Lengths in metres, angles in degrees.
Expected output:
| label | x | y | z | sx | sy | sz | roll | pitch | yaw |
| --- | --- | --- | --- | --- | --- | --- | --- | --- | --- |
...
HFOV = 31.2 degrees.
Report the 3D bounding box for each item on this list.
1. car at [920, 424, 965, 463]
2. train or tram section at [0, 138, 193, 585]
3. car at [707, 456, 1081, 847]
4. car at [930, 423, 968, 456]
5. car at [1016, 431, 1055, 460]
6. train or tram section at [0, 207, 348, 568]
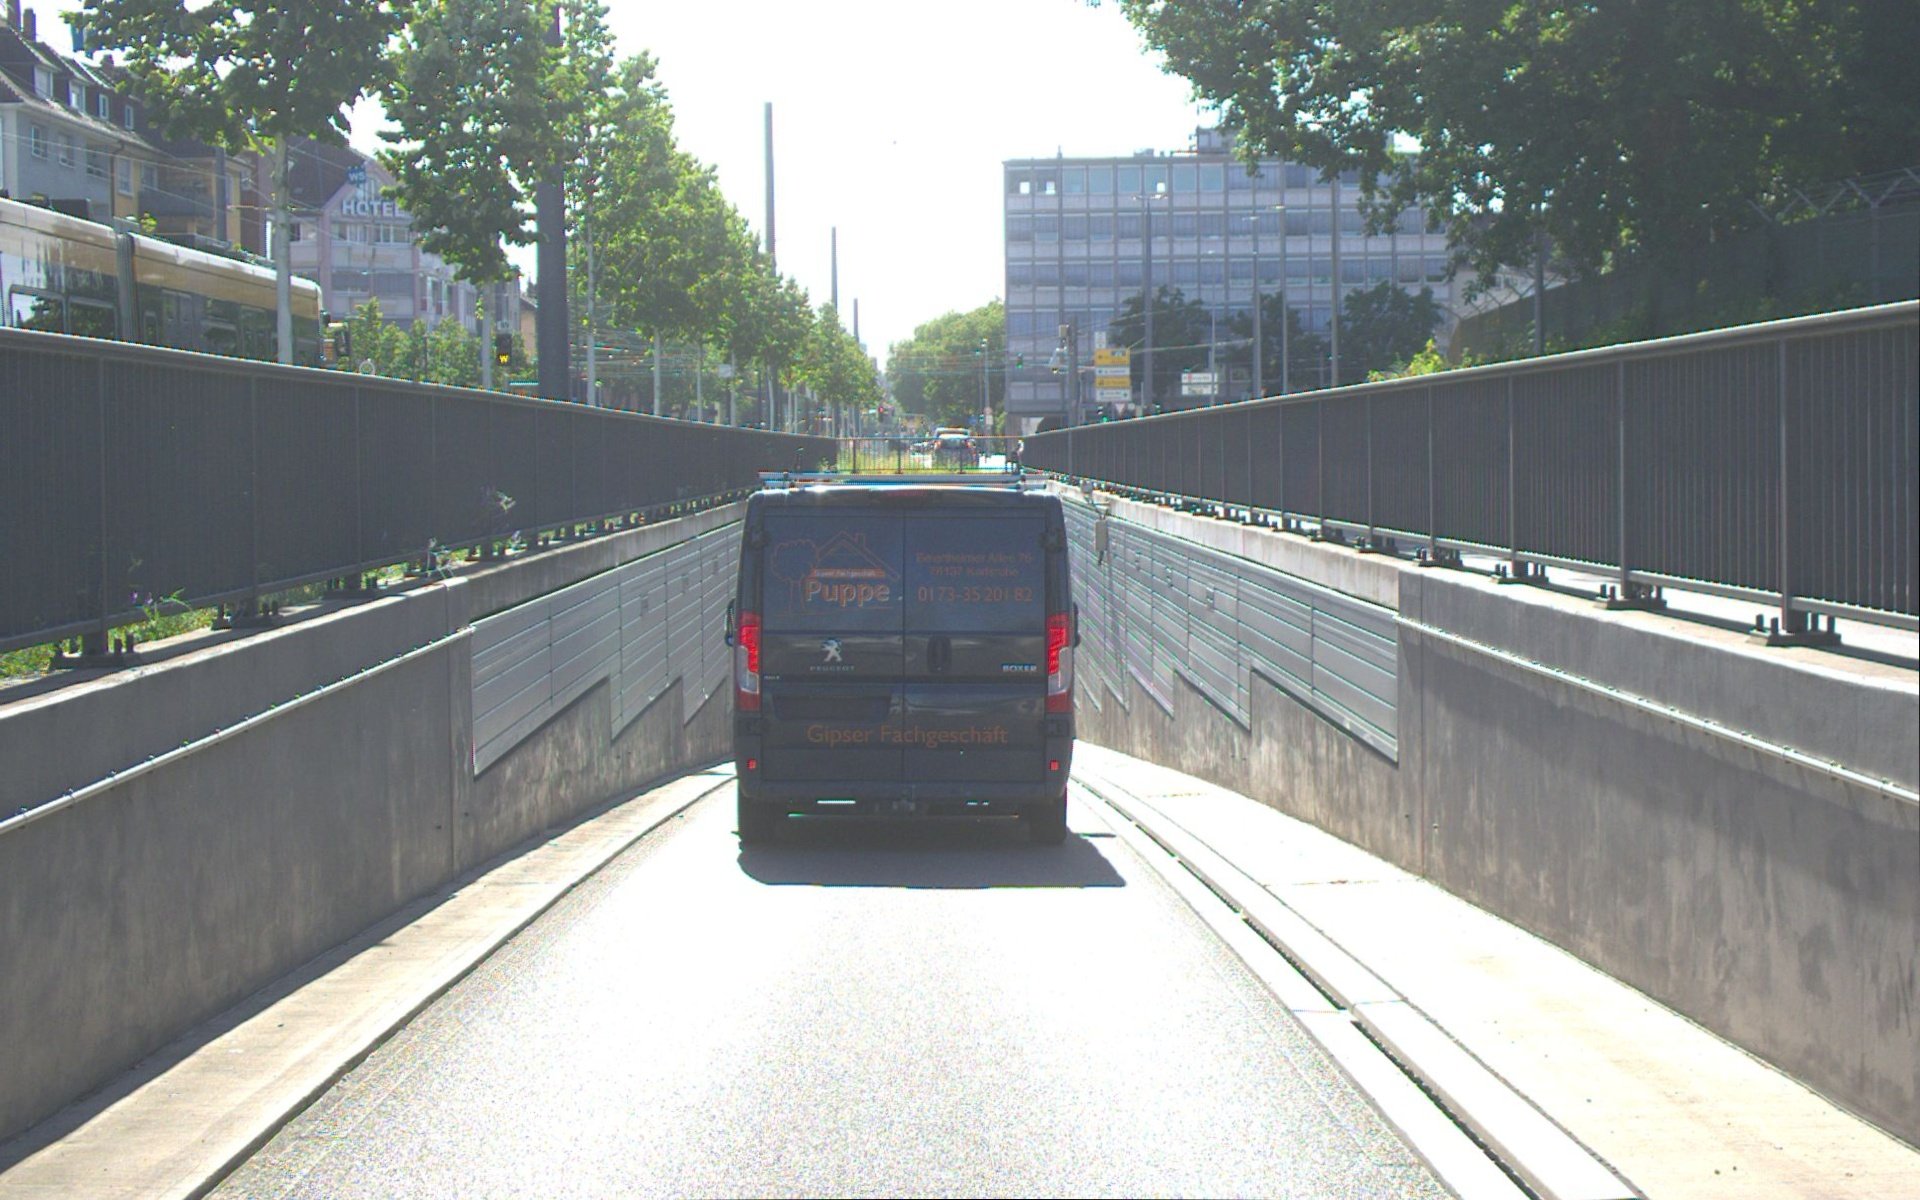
| label | x | y | z | sx | sy | sz | roll | pitch | yaw |
| --- | --- | --- | --- | --- | --- | --- | --- | --- | --- |
| car | -0.727 | -6.369 | 139.863 | 1.740 | 1.556 | 4.001 | 0 | 3 | -2 |
| train or tram section | -9.532 | -2.099 | 30.510 | 2.610 | 3.808 | 13.093 | 1 | 2 | -1 |
| car | -0.379 | 0.315 | 22.396 | 2.158 | 2.258 | 4.636 | 1 | 0 | 0 |
| car | -0.527 | -7.832 | 167.833 | 1.740 | 1.556 | 4.001 | 0 | 3 | -2 |
| car | 3.777 | -7.686 | 171.449 | 1.740 | 1.416 | 4.001 | 0 | 3 | -2 |
| train or tram section | -9.653 | -2.473 | 42.034 | 2.612 | 3.841 | 9.972 | 1 | 2 | -1 |
